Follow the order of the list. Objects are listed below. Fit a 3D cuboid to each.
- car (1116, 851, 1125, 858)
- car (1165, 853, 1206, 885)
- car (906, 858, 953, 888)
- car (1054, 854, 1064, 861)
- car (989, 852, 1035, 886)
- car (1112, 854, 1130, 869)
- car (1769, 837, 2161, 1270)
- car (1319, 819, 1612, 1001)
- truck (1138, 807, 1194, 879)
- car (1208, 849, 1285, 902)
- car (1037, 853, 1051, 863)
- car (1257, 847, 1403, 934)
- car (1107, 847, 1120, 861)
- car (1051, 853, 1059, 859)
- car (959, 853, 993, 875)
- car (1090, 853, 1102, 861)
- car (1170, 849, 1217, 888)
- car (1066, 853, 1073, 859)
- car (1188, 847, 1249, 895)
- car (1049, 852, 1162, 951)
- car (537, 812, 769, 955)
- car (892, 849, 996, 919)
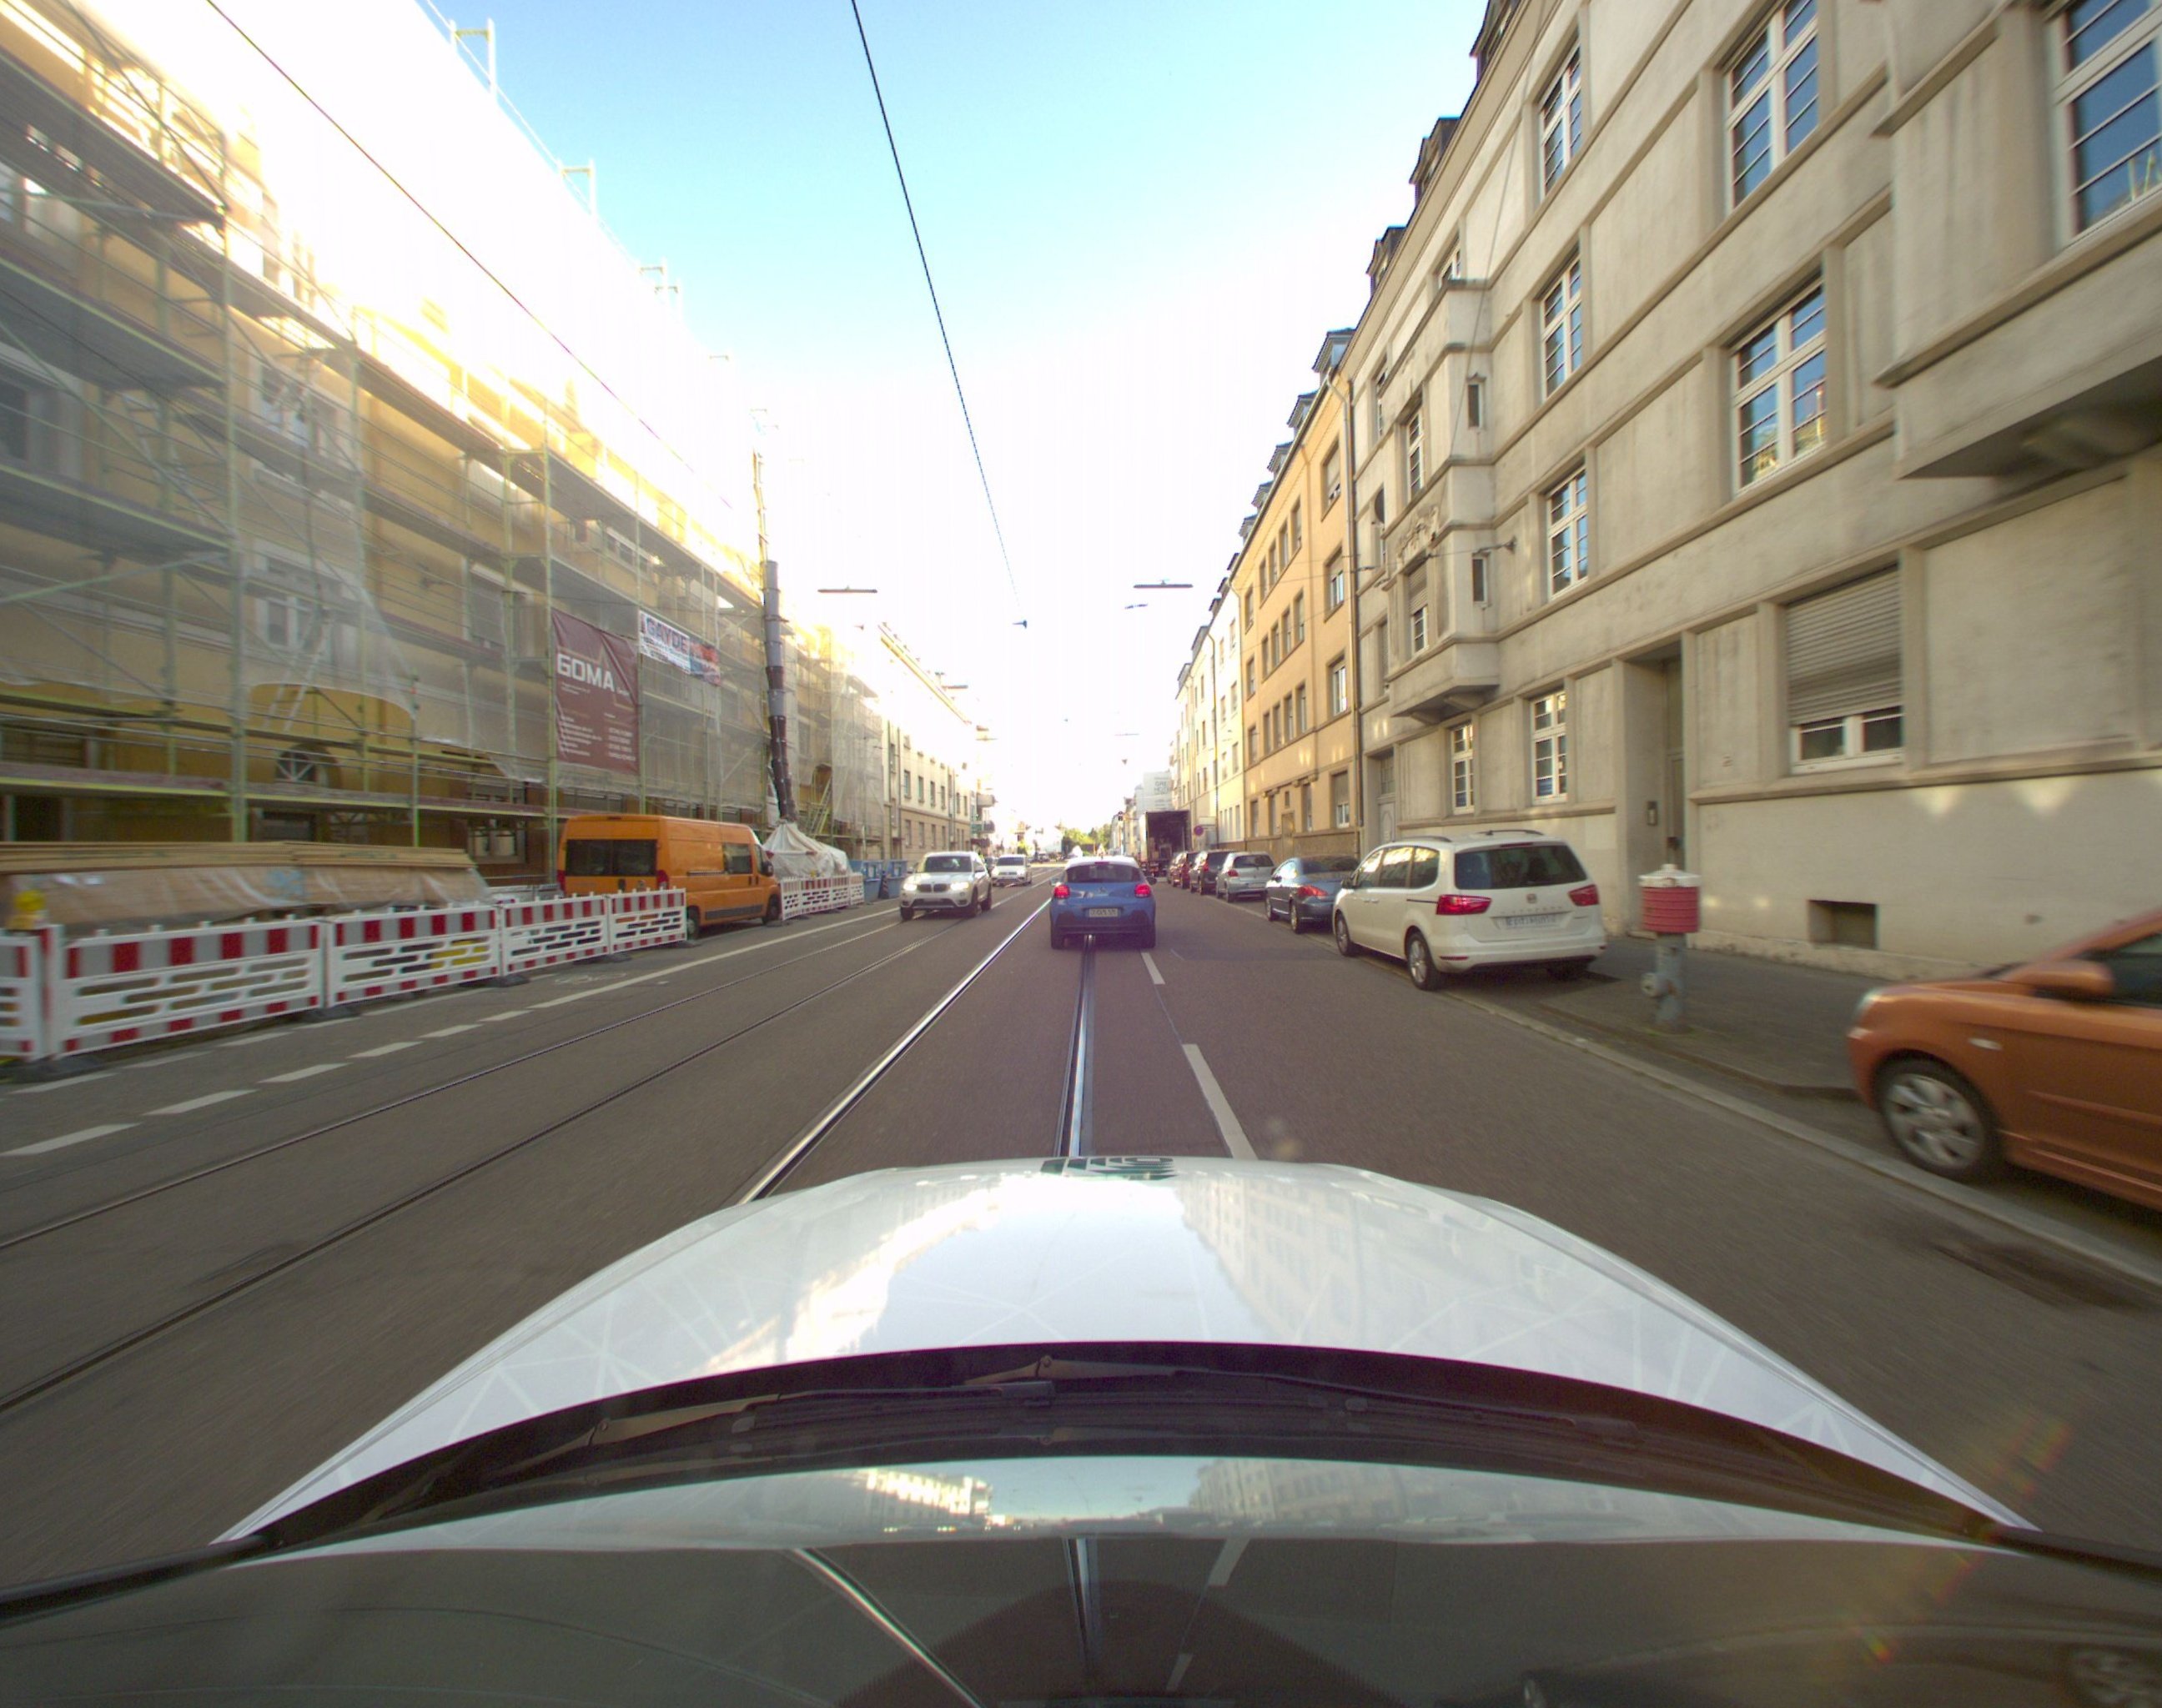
[{"bbox_3d":[8.496,0.041,173.767,1.759,1.486,4.033,-2,0,1],"label":"car"},{"bbox_3d":[5.245,0.730,41.354,1.658,1.486,4.033,-2,0,1],"label":"car"},{"bbox_3d":[-8.248,1.000,44.655,1.708,1.518,4.049,-2,0,1],"label":"car"},{"bbox_3d":[-4.585,0.674,171.339,1.759,1.486,4.033,-2,0,1],"label":"car"},{"bbox_3d":[-3.554,0.745,42.729,1.894,1.632,4.268,-2,0,1],"label":"car"},{"bbox_3d":[4.186,0.736,85.756,1.759,1.486,4.033,-2,0,1],"label":"car"},{"bbox_3d":[4.726,0.716,2.864,1.608,1.560,3.601,-2,0,1],"label":"car"},{"bbox_3d":[4.656,0.573,10.749,1.724,1.827,4.688,-2,0,1],"label":"car"},{"bbox_3d":[5.287,-0.653,52.582,2.842,4.083,11.277,-2,0,2],"label":"truck"},{"bbox_3d":[5.185,0.625,26.006,1.658,1.519,4.223,-2,0,1],"label":"car"},{"bbox_3d":[-6.286,0.687,138.367,1.894,1.632,4.268,-2,0,1],"label":"car"},{"bbox_3d":[4.837,0.646,16.437,1.716,1.486,4.223,-2,0,1],"label":"car"},{"bbox_3d":[5.725,0.023,144.788,2.212,2.284,4.085,-2,0,1],"label":"car"},{"bbox_3d":[-6.028,0.486,189.945,1.759,1.486,4.033,-2,0,1],"label":"car"},{"bbox_3d":[-8.126,0.742,63.209,1.819,1.632,4.850,-2,0,1],"label":"car"},{"bbox_3d":[2.914,0.553,152.476,2.172,1.486,4.161,-1,0,1],"label":"car"},{"bbox_3d":[5.056,0.637,36.875,1.658,1.633,3.872,-2,0,1],"label":"car"},{"bbox_3d":[-3.449,0.577,242.788,1.759,1.486,4.033,-2,0,1],"label":"car"},{"bbox_3d":[5.122,0.601,30.853,1.658,1.647,4.223,-2,0,1],"label":"car"},{"bbox_3d":[0.427,0.724,14.544,1.729,1.507,3.994,1,0,1],"label":"car"},{"bbox_3d":[-8.407,0.500,16.691,2.138,2.475,4.978,-1,0,-1],"label":"car"},{"bbox_3d":[-3.502,0.717,21.653,1.819,1.632,4.492,-2,0,1],"label":"car"}]
